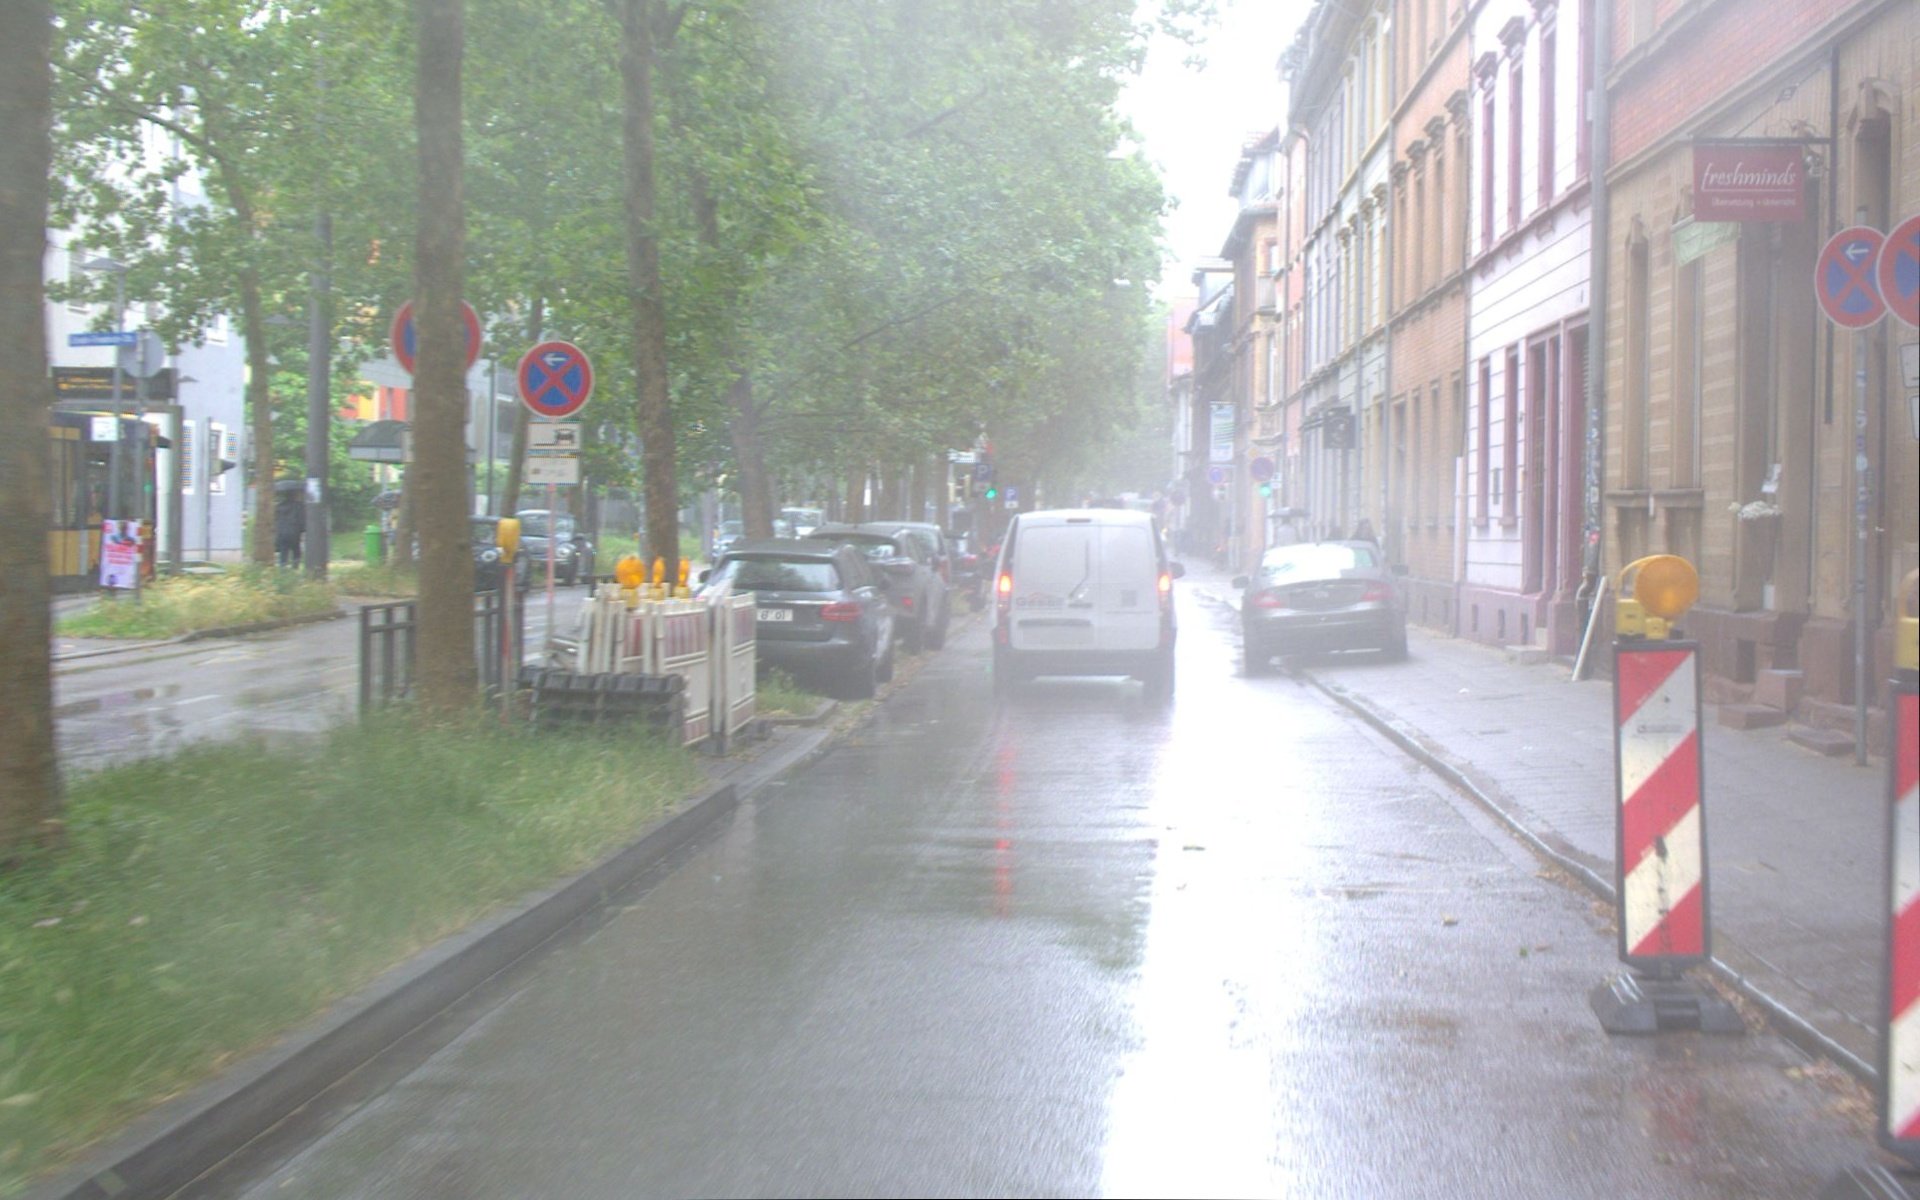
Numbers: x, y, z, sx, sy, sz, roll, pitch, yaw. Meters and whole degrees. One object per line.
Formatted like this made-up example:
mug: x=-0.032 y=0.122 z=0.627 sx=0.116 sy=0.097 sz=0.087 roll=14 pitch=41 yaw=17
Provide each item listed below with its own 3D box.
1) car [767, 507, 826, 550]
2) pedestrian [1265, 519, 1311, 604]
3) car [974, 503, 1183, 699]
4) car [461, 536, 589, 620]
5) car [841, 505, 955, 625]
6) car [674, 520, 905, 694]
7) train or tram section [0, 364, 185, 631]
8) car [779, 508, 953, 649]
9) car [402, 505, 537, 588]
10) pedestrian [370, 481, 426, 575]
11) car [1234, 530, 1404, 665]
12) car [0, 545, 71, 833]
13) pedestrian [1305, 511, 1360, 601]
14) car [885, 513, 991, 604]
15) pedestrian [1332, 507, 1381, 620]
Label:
car: x=-6.348 y=-2.774 z=133.124 sx=1.993 sy=1.575 sz=4.001 roll=1 pitch=2 yaw=-7
pedestrian: x=6.712 y=-0.794 z=70.393 sx=0.840 sy=1.710 sz=1.108 roll=-2 pitch=1 yaw=3
car: x=1.209 y=0.008 z=34.090 sx=1.904 sy=1.791 sz=4.113 roll=1 pitch=0 yaw=3
car: x=-8.932 y=-0.486 z=70.821 sx=1.993 sy=1.607 sz=4.000 roll=1 pitch=1 yaw=2
car: x=-0.917 y=-0.564 z=52.304 sx=1.624 sy=1.676 sz=3.660 roll=2 pitch=2 yaw=0
car: x=-1.580 y=0.021 z=33.394 sx=1.829 sy=1.498 sz=4.613 roll=2 pitch=1 yaw=2
train or tram section: x=-14.272 y=-1.379 z=48.060 sx=3.106 sy=3.546 sz=14.674 roll=1 pitch=0 yaw=2
car: x=-1.105 y=-0.291 z=42.379 sx=1.699 sy=1.630 sz=4.354 roll=1 pitch=1 yaw=4
car: x=-8.878 y=-0.990 z=62.539 sx=1.738 sy=1.338 sz=3.756 roll=4 pitch=2 yaw=2
pedestrian: x=-10.323 y=-1.318 z=63.170 sx=0.818 sy=1.698 sz=0.872 roll=1 pitch=1 yaw=2
car: x=4.163 y=-0.073 z=40.144 sx=1.814 sy=1.416 sz=4.696 roll=-2 pitch=1 yaw=5
car: x=-5.604 y=0.449 z=15.822 sx=1.741 sy=1.393 sz=4.233 roll=1 pitch=1 yaw=3
pedestrian: x=6.409 y=-0.768 z=59.143 sx=0.840 sy=1.506 sz=1.108 roll=-2 pitch=1 yaw=3
car: x=-0.367 y=-0.762 z=61.573 sx=1.649 sy=1.495 sz=4.119 roll=3 pitch=1 yaw=2
pedestrian: x=6.017 y=-0.557 z=52.165 sx=0.638 sy=1.679 sz=0.603 roll=-2 pitch=1 yaw=2
